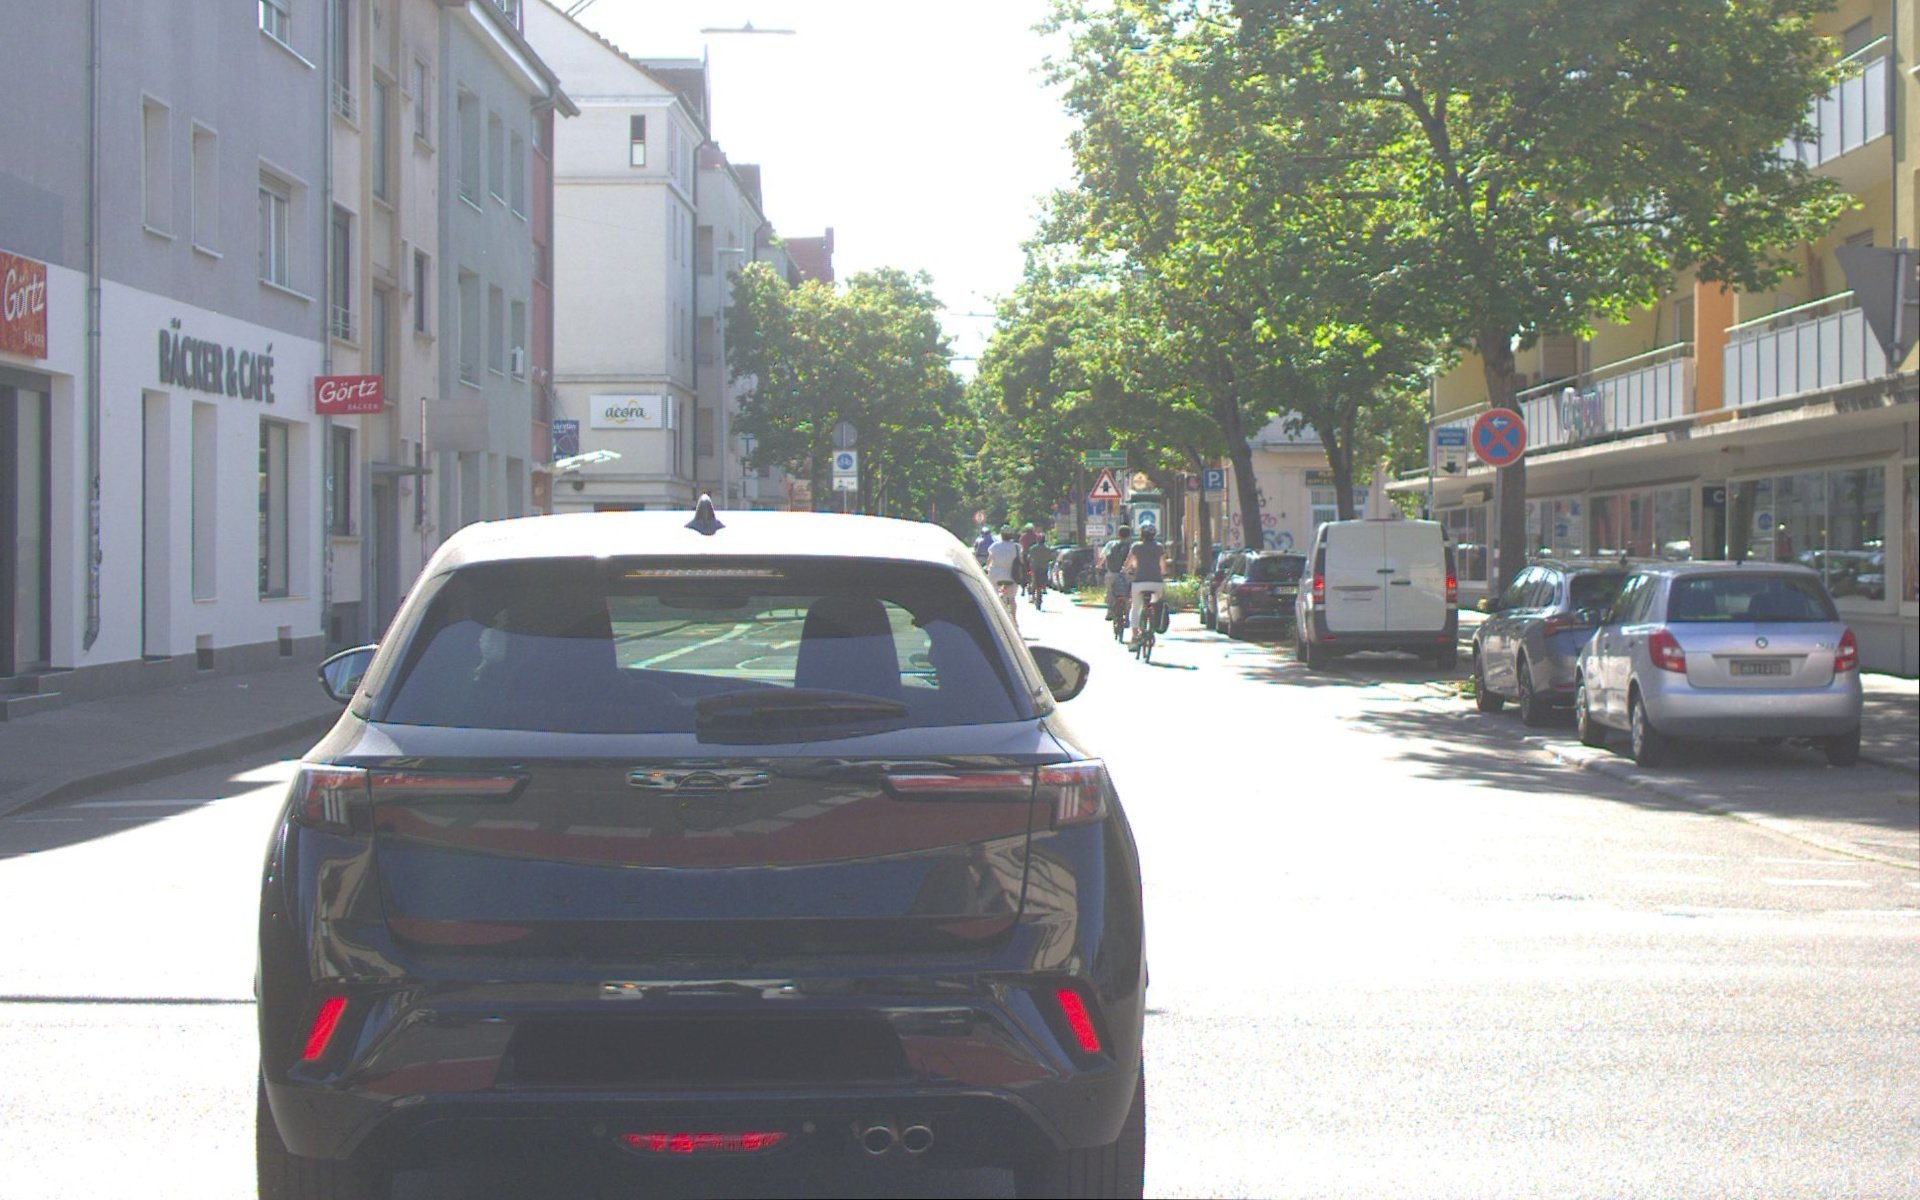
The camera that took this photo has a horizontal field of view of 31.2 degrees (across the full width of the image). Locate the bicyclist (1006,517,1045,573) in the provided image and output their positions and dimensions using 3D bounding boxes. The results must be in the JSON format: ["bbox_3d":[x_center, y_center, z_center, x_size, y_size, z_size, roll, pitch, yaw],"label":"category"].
[{"bbox_3d":[1.570,-1.335,82.926,0.856,1.310,1.210,2,1,0],"label":"bicyclist"}]

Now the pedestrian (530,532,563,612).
[{"bbox_3d":[-7.565,-0.511,62.910,0.577,1.462,0.703,0,1,-5],"label":"pedestrian"}]

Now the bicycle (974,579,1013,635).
[{"bbox_3d":[0.546,0.105,55.518,0.620,0.863,1.876,0,1,1],"label":"bicycle"}]

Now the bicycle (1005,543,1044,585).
[{"bbox_3d":[1.543,-0.876,82.994,0.856,0.941,2.307,2,1,0],"label":"bicycle"}]

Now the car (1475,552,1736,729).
[{"bbox_3d":[5.735,0.320,30.885,1.712,1.478,3.381,0,1,0],"label":"car"}]

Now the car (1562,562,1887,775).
[{"bbox_3d":[5.739,0.469,26.186,1.712,1.478,3.480,0,1,0],"label":"car"}]

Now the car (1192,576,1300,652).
[{"bbox_3d":[5.215,0.238,63.073,1.712,1.310,3.381,0,1,0],"label":"car"}]

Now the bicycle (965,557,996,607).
[{"bbox_3d":[0.431,-0.390,72.781,0.632,1.037,1.795,0,1,0],"label":"bicycle"}]

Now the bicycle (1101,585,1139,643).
[{"bbox_3d":[2.503,0.206,53.967,0.547,0.863,1.876,0,1,1],"label":"bicycle"}]

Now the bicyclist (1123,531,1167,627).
[{"bbox_3d":[2.427,-0.282,45.161,0.547,1.257,0.803,0,1,1],"label":"bicyclist"}]

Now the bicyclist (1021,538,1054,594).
[{"bbox_3d":[1.651,-0.720,73.416,0.692,1.189,0.595,0,1,1],"label":"bicyclist"}]

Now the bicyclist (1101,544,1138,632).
[{"bbox_3d":[2.498,-0.195,53.915,0.547,1.378,0.823,0,1,1],"label":"bicyclist"}]

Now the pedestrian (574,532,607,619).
[{"bbox_3d":[-6.751,-0.455,62.795,0.577,1.577,0.708,0,1,-5],"label":"pedestrian"}]

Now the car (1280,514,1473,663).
[{"bbox_3d":[5.354,-0.185,44.749,2.046,1.840,4.584,0,1,1],"label":"car"}]

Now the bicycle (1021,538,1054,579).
[{"bbox_3d":[1.648,-0.887,73.217,0.691,0.863,1.876,0,1,1],"label":"bicycle"}]

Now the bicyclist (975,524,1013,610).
[{"bbox_3d":[0.550,-0.542,55.552,0.588,1.378,0.823,0,1,1],"label":"bicyclist"}]

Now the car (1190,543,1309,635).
[{"bbox_3d":[4.778,-0.208,57.087,1.712,1.478,3.381,0,1,0],"label":"car"}]

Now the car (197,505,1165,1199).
[{"bbox_3d":[-0.655,0.584,8.290,1.762,1.553,4.001,0,1,-4],"label":"car"}]

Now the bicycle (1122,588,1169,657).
[{"bbox_3d":[2.433,0.284,45.242,0.547,0.863,1.876,0,1,1],"label":"bicycle"}]

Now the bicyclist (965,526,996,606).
[{"bbox_3d":[0.426,-0.715,72.399,0.632,1.663,1.050,0,1,0],"label":"bicyclist"}]
